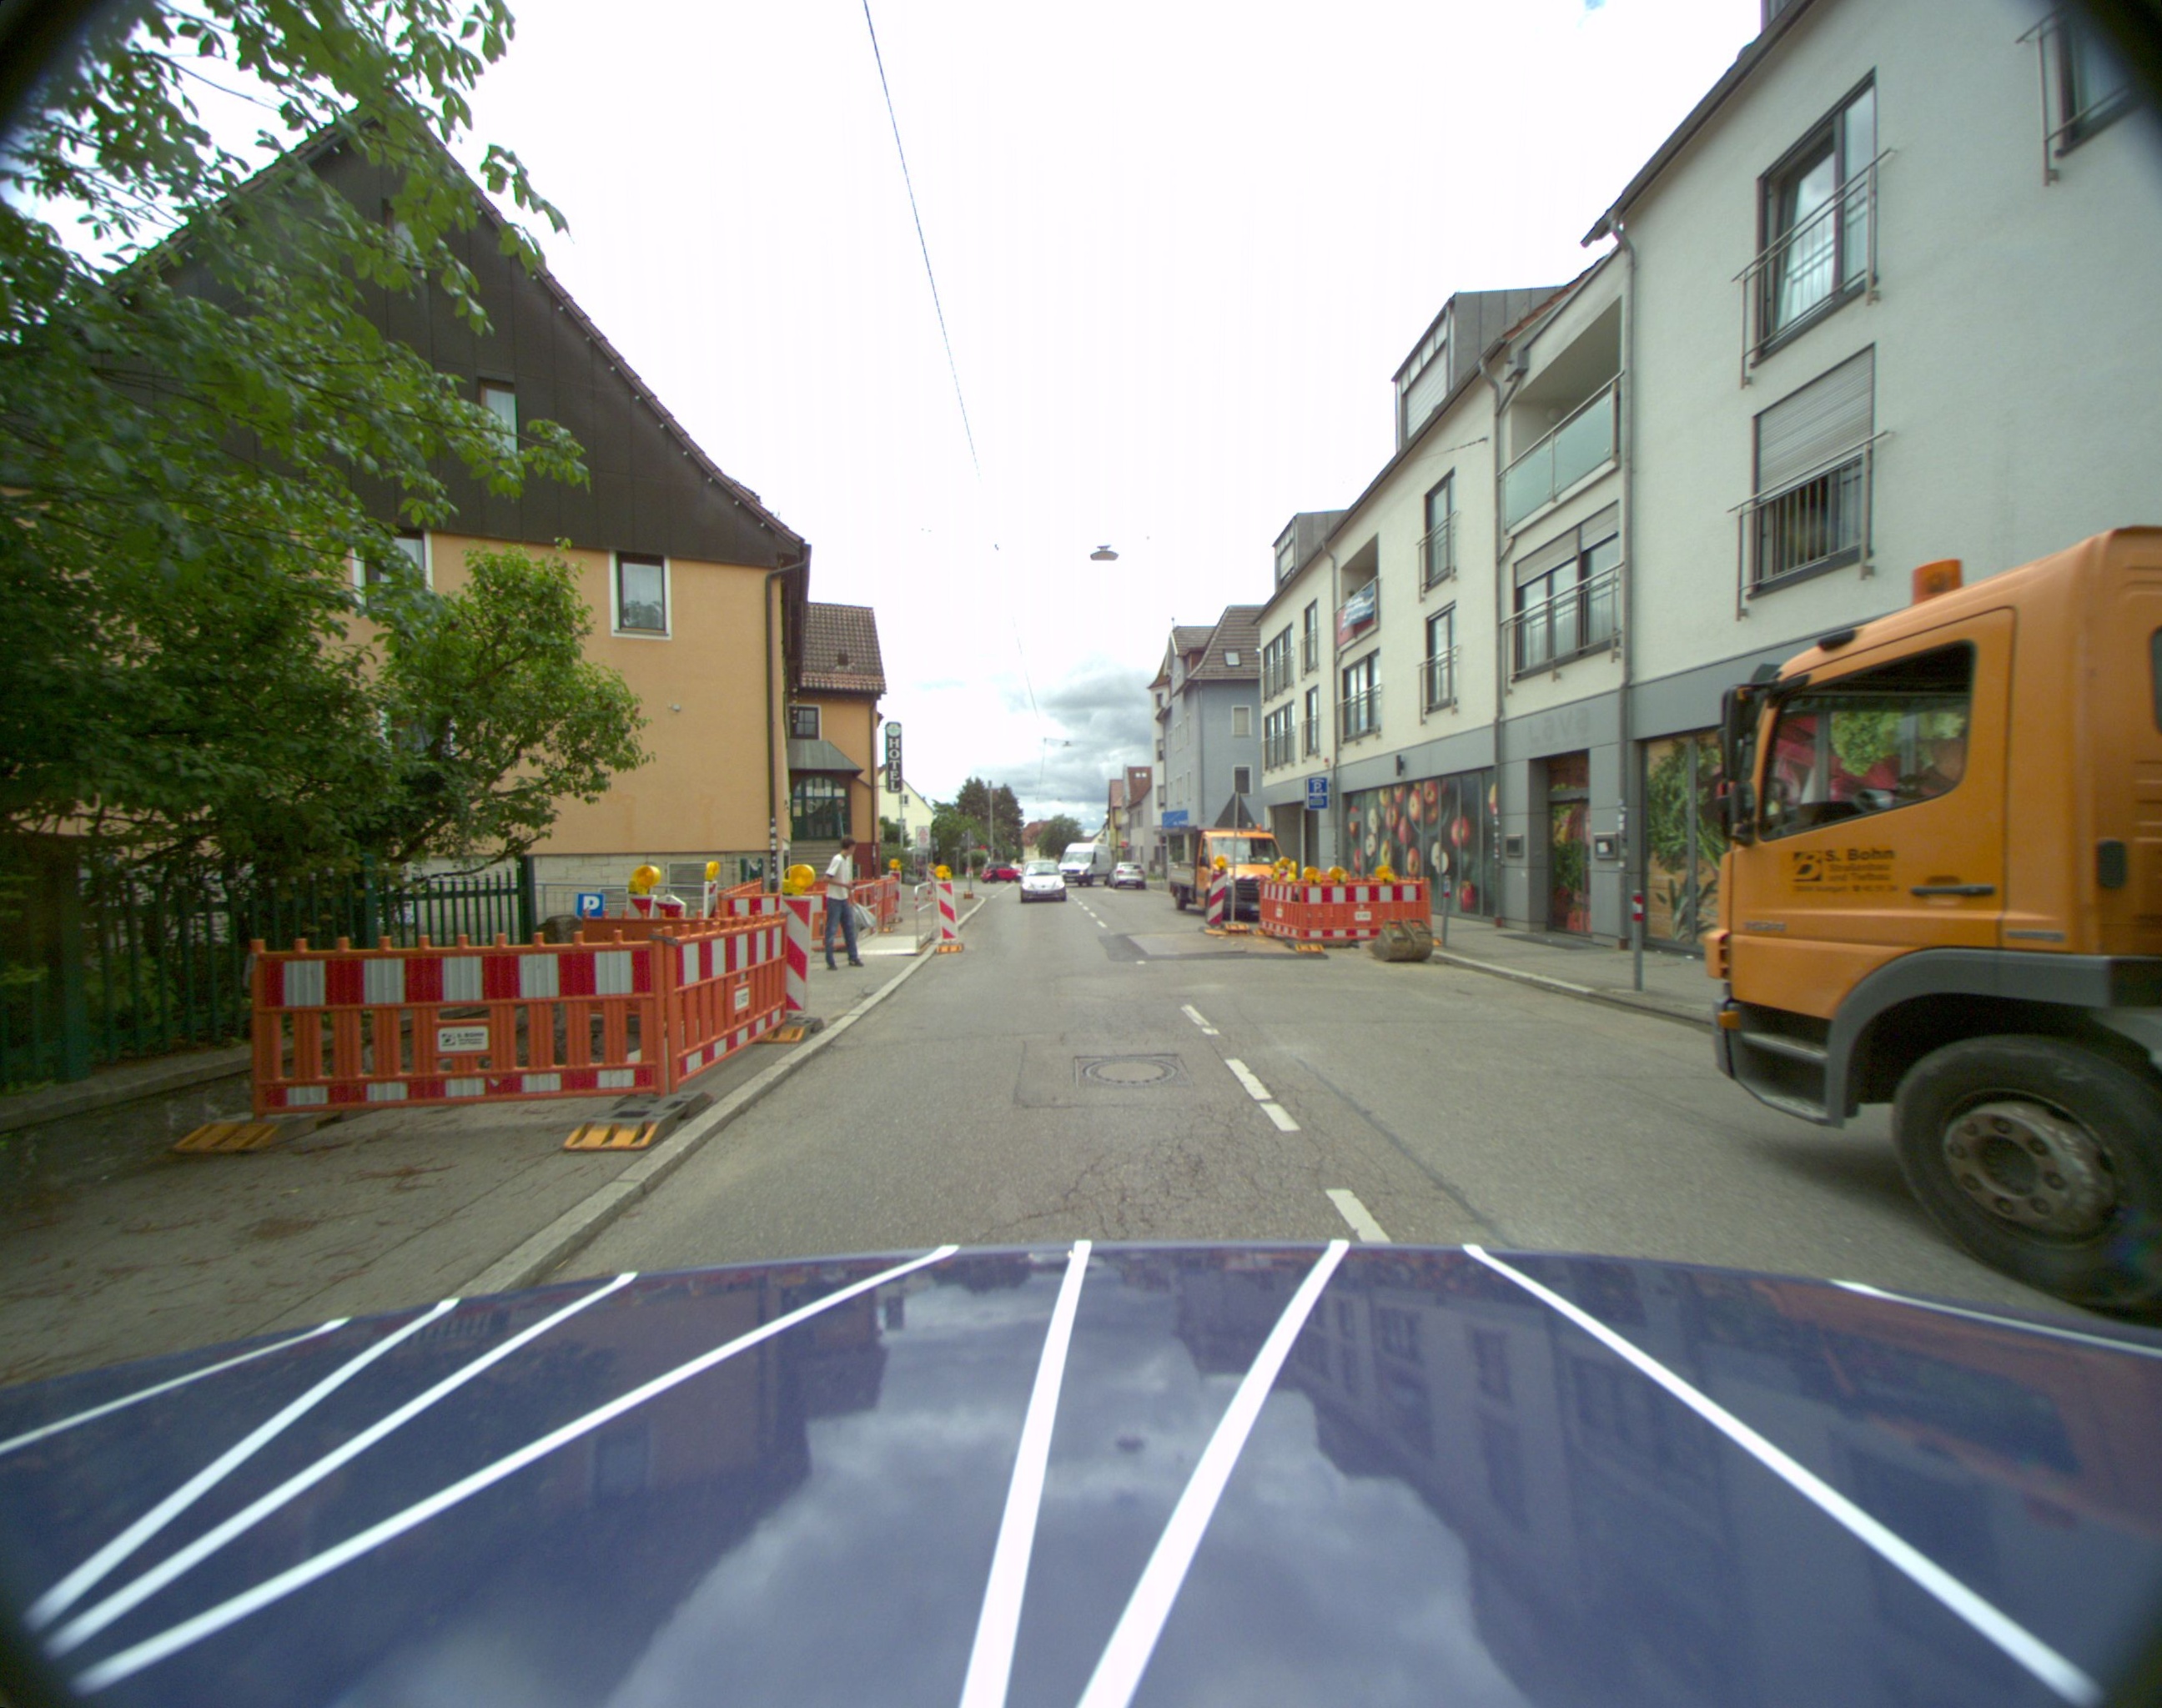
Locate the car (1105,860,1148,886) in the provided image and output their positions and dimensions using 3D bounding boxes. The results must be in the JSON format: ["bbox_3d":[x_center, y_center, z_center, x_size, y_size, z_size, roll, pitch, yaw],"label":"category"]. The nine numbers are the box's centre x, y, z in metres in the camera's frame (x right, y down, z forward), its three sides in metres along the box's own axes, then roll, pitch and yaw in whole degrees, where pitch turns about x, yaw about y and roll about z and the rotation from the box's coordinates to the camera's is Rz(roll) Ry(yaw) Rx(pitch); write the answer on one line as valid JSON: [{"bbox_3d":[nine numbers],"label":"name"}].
[{"bbox_3d":[2.474,1.026,42.110,1.803,1.403,3.998,0,0,-6],"label":"car"}]

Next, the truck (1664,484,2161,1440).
[{"bbox_3d":[4.403,0.292,0.589,2.738,2.709,6.848,0,0,1],"label":"truck"}]

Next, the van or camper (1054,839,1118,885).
[{"bbox_3d":[0.435,0.485,46.256,2.322,2.592,6.215,0,0,16],"label":"van or camper"}]

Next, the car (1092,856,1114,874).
[{"bbox_3d":[1.923,0.934,66.804,1.863,1.465,4.353,2,-1,1],"label":"car"}]

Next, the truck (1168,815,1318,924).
[{"bbox_3d":[4.045,0.374,20.402,2.420,2.451,6.306,0,0,-3],"label":"truck"}]

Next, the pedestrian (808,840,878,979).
[{"bbox_3d":[-3.420,0.773,11.005,0.800,1.938,0.836,0,0,-5],"label":"pedestrian"}]

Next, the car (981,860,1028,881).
[{"bbox_3d":[-5.580,1.190,55.498,2.944,1.511,1.816,0,0,-28],"label":"car"}]

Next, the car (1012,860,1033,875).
[{"bbox_3d":[-5.755,1.290,74.733,1.719,1.472,4.000,0,0,0],"label":"car"}]

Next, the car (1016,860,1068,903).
[{"bbox_3d":[-1.477,1.015,29.760,1.858,1.547,4.352,0,0,-2],"label":"car"}]

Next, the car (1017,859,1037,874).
[{"bbox_3d":[-5.788,1.321,82.238,1.819,1.472,4.000,-4,0,0],"label":"car"}]
